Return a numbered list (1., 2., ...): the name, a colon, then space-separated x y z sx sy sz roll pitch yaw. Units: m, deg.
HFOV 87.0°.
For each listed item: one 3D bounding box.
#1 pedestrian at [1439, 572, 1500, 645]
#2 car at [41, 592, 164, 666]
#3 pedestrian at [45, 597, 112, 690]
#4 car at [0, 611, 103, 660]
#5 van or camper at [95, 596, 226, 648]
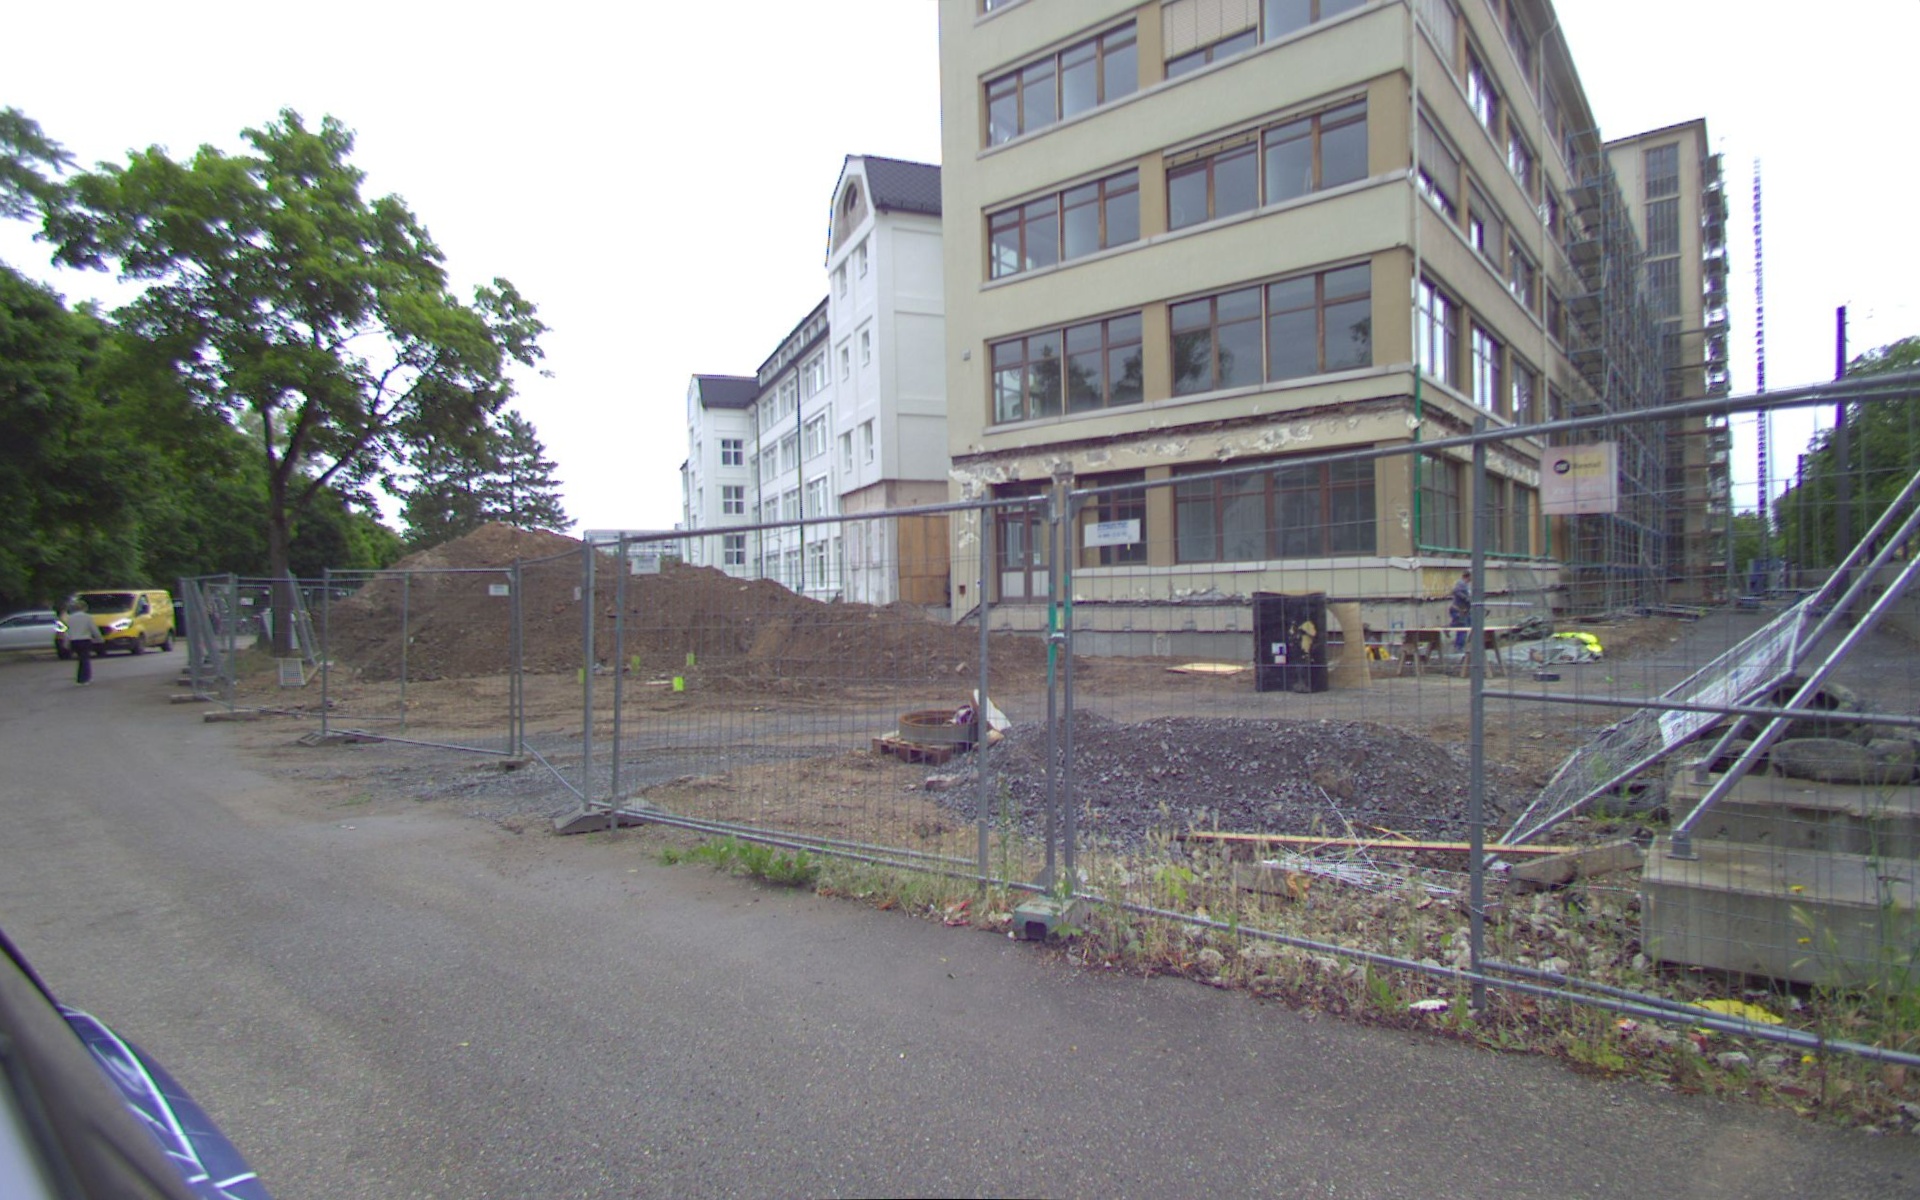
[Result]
1. pedestrian: 10.487 0.172 20.853 0.975 1.448 0.925 -1 0 19
2. car: -25.611 0.814 30.391 2.089 2.029 4.012 -1 0 -30
3. pedestrian: -17.258 0.837 19.824 0.657 1.795 0.747 -1 0 16
4. car: -32.858 1.244 35.684 3.822 1.586 1.756 -1 0 -35
5. van or camper: -37.484 1.014 47.584 4.423 2.275 2.007 -1 0 -23
